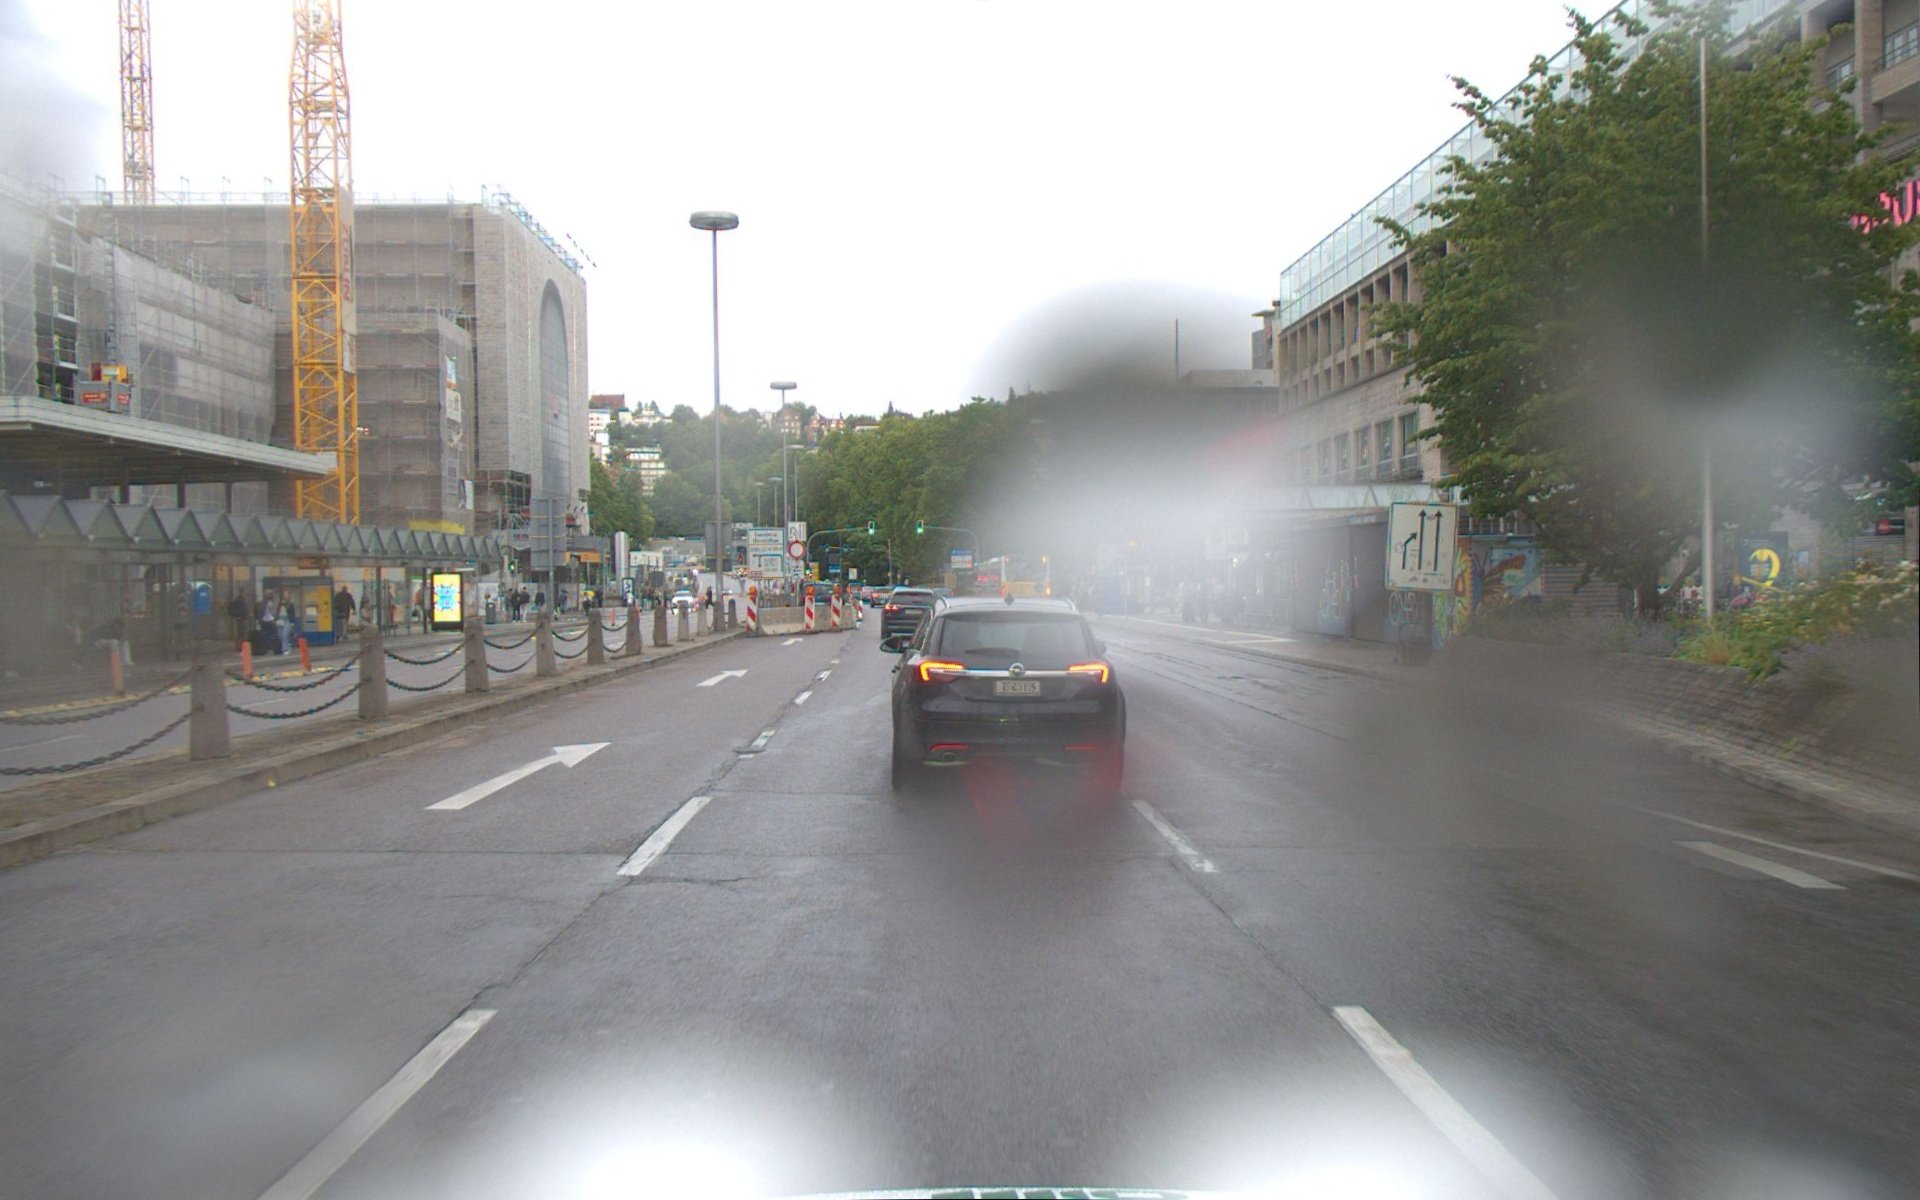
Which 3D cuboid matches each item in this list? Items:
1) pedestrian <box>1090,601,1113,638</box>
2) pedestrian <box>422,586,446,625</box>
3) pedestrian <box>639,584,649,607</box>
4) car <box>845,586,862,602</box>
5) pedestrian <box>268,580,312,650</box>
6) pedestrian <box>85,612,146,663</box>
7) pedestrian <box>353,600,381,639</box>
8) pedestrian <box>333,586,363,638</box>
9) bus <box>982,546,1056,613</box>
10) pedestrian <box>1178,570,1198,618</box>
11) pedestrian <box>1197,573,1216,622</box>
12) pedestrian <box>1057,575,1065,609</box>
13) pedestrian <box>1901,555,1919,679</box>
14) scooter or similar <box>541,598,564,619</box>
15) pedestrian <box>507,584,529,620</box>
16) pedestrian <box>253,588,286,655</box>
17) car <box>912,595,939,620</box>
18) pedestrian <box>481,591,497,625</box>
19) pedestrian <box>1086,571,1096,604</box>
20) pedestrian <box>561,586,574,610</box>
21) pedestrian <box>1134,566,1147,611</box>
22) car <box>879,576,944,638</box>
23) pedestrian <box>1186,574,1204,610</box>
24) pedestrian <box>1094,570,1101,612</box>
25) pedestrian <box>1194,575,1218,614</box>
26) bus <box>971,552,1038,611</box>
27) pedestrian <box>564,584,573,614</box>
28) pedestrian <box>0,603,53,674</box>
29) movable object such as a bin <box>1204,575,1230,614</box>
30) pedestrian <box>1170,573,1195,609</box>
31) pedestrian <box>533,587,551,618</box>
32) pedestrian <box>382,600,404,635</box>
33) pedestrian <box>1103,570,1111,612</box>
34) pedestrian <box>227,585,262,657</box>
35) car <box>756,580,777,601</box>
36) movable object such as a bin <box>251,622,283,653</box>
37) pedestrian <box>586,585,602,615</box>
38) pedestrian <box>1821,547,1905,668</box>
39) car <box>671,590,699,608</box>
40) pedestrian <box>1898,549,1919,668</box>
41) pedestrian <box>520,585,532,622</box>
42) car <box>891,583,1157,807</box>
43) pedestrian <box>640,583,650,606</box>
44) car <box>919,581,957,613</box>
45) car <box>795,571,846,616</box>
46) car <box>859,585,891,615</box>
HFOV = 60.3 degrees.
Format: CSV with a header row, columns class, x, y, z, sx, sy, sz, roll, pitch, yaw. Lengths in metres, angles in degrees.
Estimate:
class,x,y,z,sx,sy,sz,roll,pitch,yaw
pedestrian,6.759,0.920,78.985,0.749,1.719,0.992,0,0,-24
pedestrian,-25.731,0.248,80.922,0.840,1.873,1.044,1,0,-3
pedestrian,-25.834,-0.383,135.269,0.684,1.873,0.528,-1,0,-5
car,-11.113,-0.625,172.429,1.671,1.694,3.704,0,0,-2
pedestrian,-17.678,0.386,43.627,0.759,1.821,0.861,0,0,4
pedestrian,-20.163,0.878,39.507,0.930,1.178,1.054,0,0,-3
pedestrian,-20.648,0.681,57.597,0.685,1.349,0.805,0,0,-4
pedestrian,-22.208,0.425,60.050,0.729,1.873,0.702,0,0,17
bus,2.990,-1.032,86.668,3.078,3.304,9.130,0,0,-3
pedestrian,8.807,-0.239,63.941,0.662,1.868,0.574,0,0,-1
pedestrian,9.347,-0.091,62.787,0.614,1.868,0.641,0,0,-1
pedestrian,5.673,-0.455,92.757,0.433,1.868,0.577,0,0,2
pedestrian,14.052,0.236,23.926,0.555,1.781,0.567,0,0,-4
scooter or similar,-21.808,0.442,88.505,0.450,1.084,1.237,0,1,31
pedestrian,-23.143,0.117,86.646,0.688,1.873,0.877,0,0,26
pedestrian,-19.111,0.576,45.781,0.772,1.821,0.666,0,0,-30
car,-2.284,0.511,109.715,1.641,1.609,3.237,0,0,-4
pedestrian,-26.018,0.433,91.385,0.706,1.873,0.612,0,0,0
pedestrian,7.484,-0.713,94.353,0.553,1.868,0.569,0,0,0
pedestrian,-27.057,-0.164,114.044,0.662,1.642,0.838,0,0,-1
pedestrian,9.050,-0.588,82.749,0.578,2.254,0.587,0,0,-1
car,-1.441,0.169,48.767,1.794,1.715,4.132,-1,1,-2
pedestrian,11.423,-0.386,80.416,0.733,1.724,0.902,0,0,0
pedestrian,6.117,-0.391,73.606,0.238,1.868,0.512,0,0,1
pedestrian,10.692,-0.245,71.875,0.750,1.683,0.674,0,0,-27
bus,2.486,-1.019,95.818,3.051,3.261,9.235,0,0,-4
pedestrian,-24.838,-0.065,104.914,0.561,1.873,0.701,0,0,-17
pedestrian,-19.803,0.797,34.745,1.034,1.457,0.830,0,0,-4
movable object such as a bin,11.051,-0.249,71.097,0.654,1.681,1.040,0,0,-26
pedestrian,11.256,-0.461,83.758,0.778,1.836,0.982,-1,0,-31
pedestrian,-25.681,0.148,101.674,0.822,1.873,1.058,0,0,1
pedestrian,-25.732,0.786,75.078,0.788,1.574,0.700,0,0,-8
pedestrian,6.538,-0.396,73.599,0.339,1.868,0.533,0,0,0
pedestrian,-18.983,0.556,43.902,0.548,1.880,0.674,0,0,43
car,-19.267,-0.897,164.685,1.956,2.049,5.359,0,0,-8
movable object such as a bin,-18.615,1.013,44.458,0.502,0.803,0.630,-2,0,42
pedestrian,-23.049,0.000,104.154,0.861,1.873,0.835,0,0,-17
pedestrian,13.593,0.108,24.917,0.627,1.781,1.075,0,0,-4
car,-23.963,-0.080,143.977,1.954,1.493,3.998,0,0,-3
pedestrian,14.696,0.130,24.910,0.600,1.781,0.868,0,0,-4
pedestrian,-22.087,0.164,84.206,0.498,1.873,0.703,0,0,-9
car,0.388,0.635,13.890,1.839,1.534,4.850,0,0,-1
pedestrian,-25.892,-0.464,135.973,0.684,1.873,0.877,0,0,-5
car,-1.238,-0.167,91.756,1.816,1.747,3.995,0,0,-5
car,-6.119,-0.307,72.854,1.953,1.895,4.831,-1,1,-2
car,-6.004,0.023,116.190,1.946,2.049,4.363,0,0,-7
